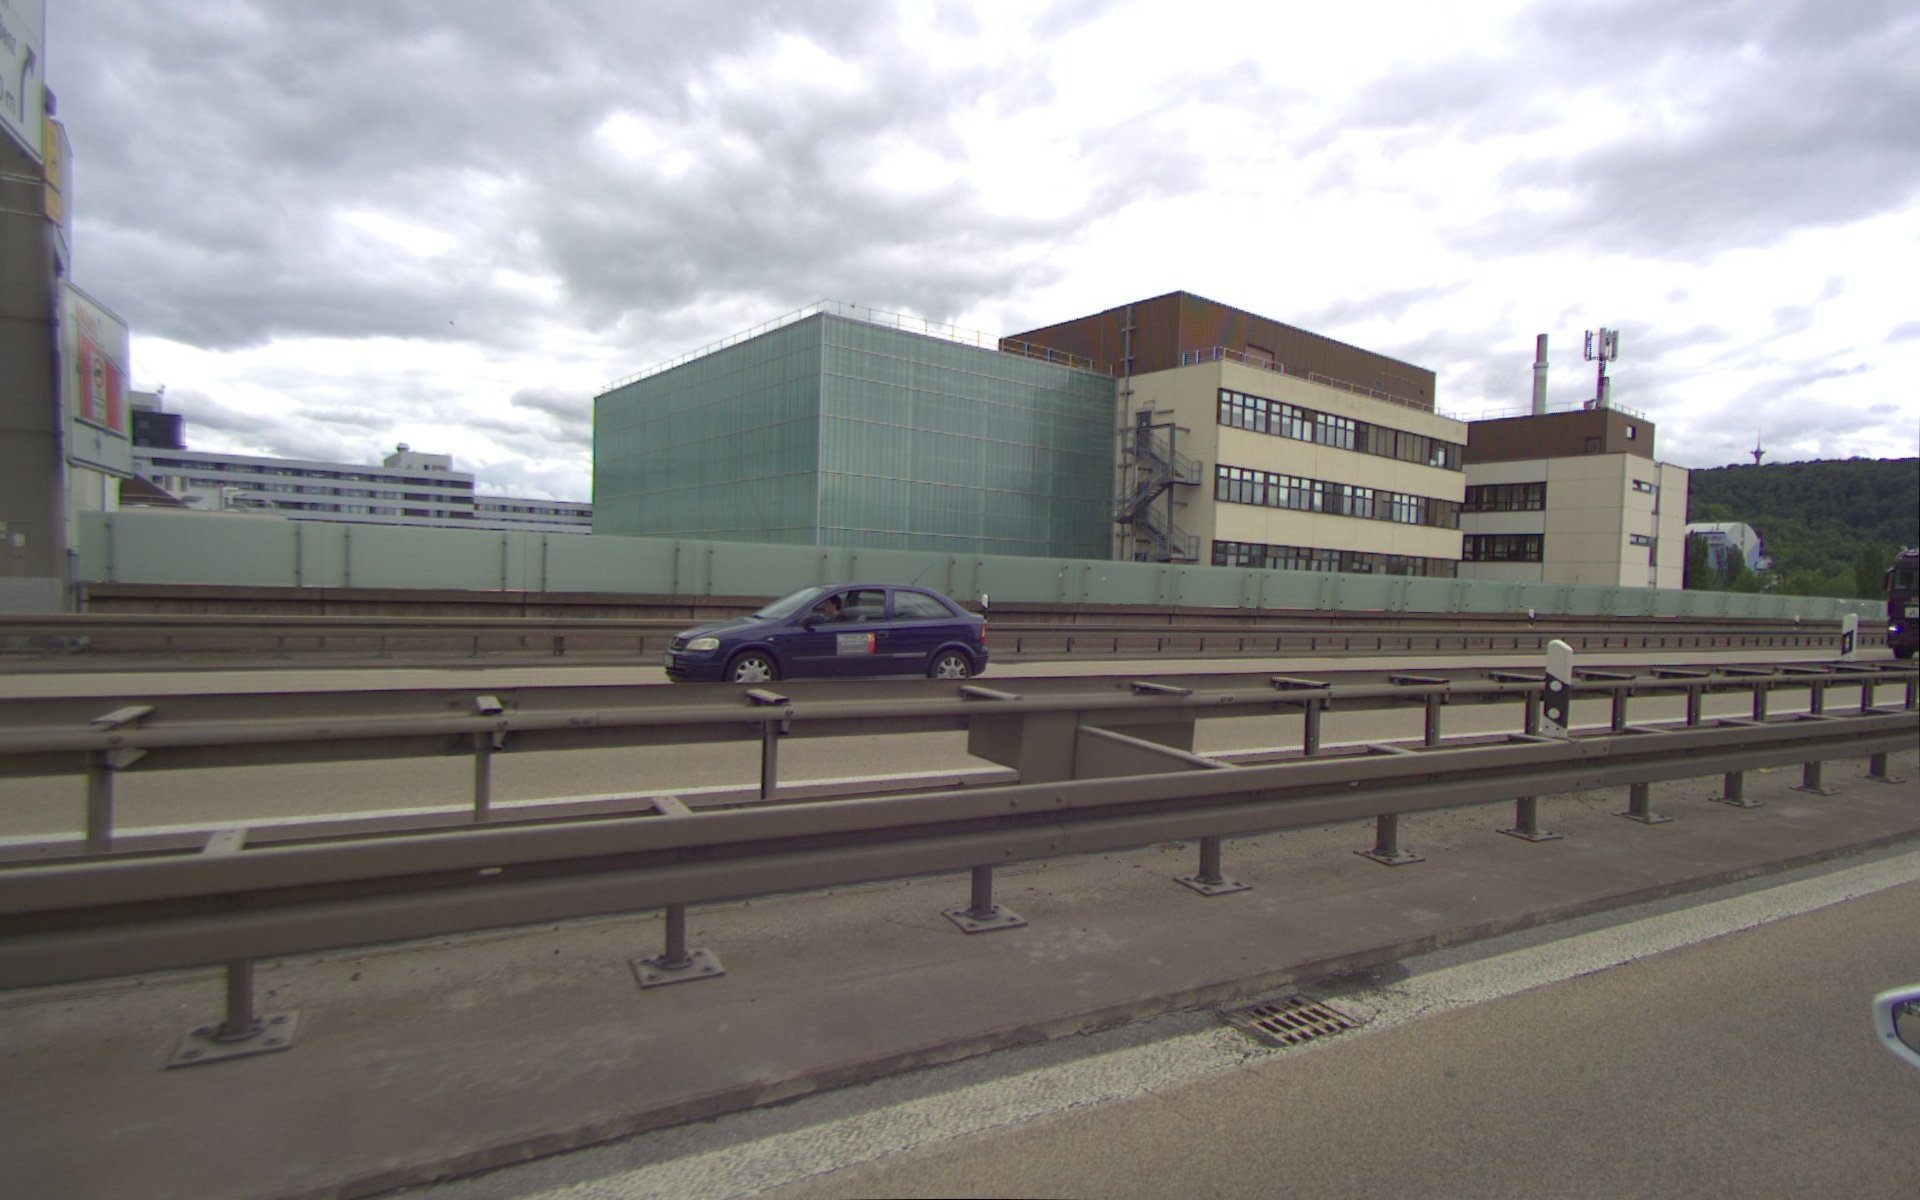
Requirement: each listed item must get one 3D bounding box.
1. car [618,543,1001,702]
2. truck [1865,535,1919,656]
[{"bbox_3d":[-1.855,0.298,12.680,4.356,1.697,1.984,2,0,-30],"label":"car"},{"bbox_3d":[35.576,0.027,35.162,11.891,3.860,2.794,2,0,-33],"label":"truck"}]
